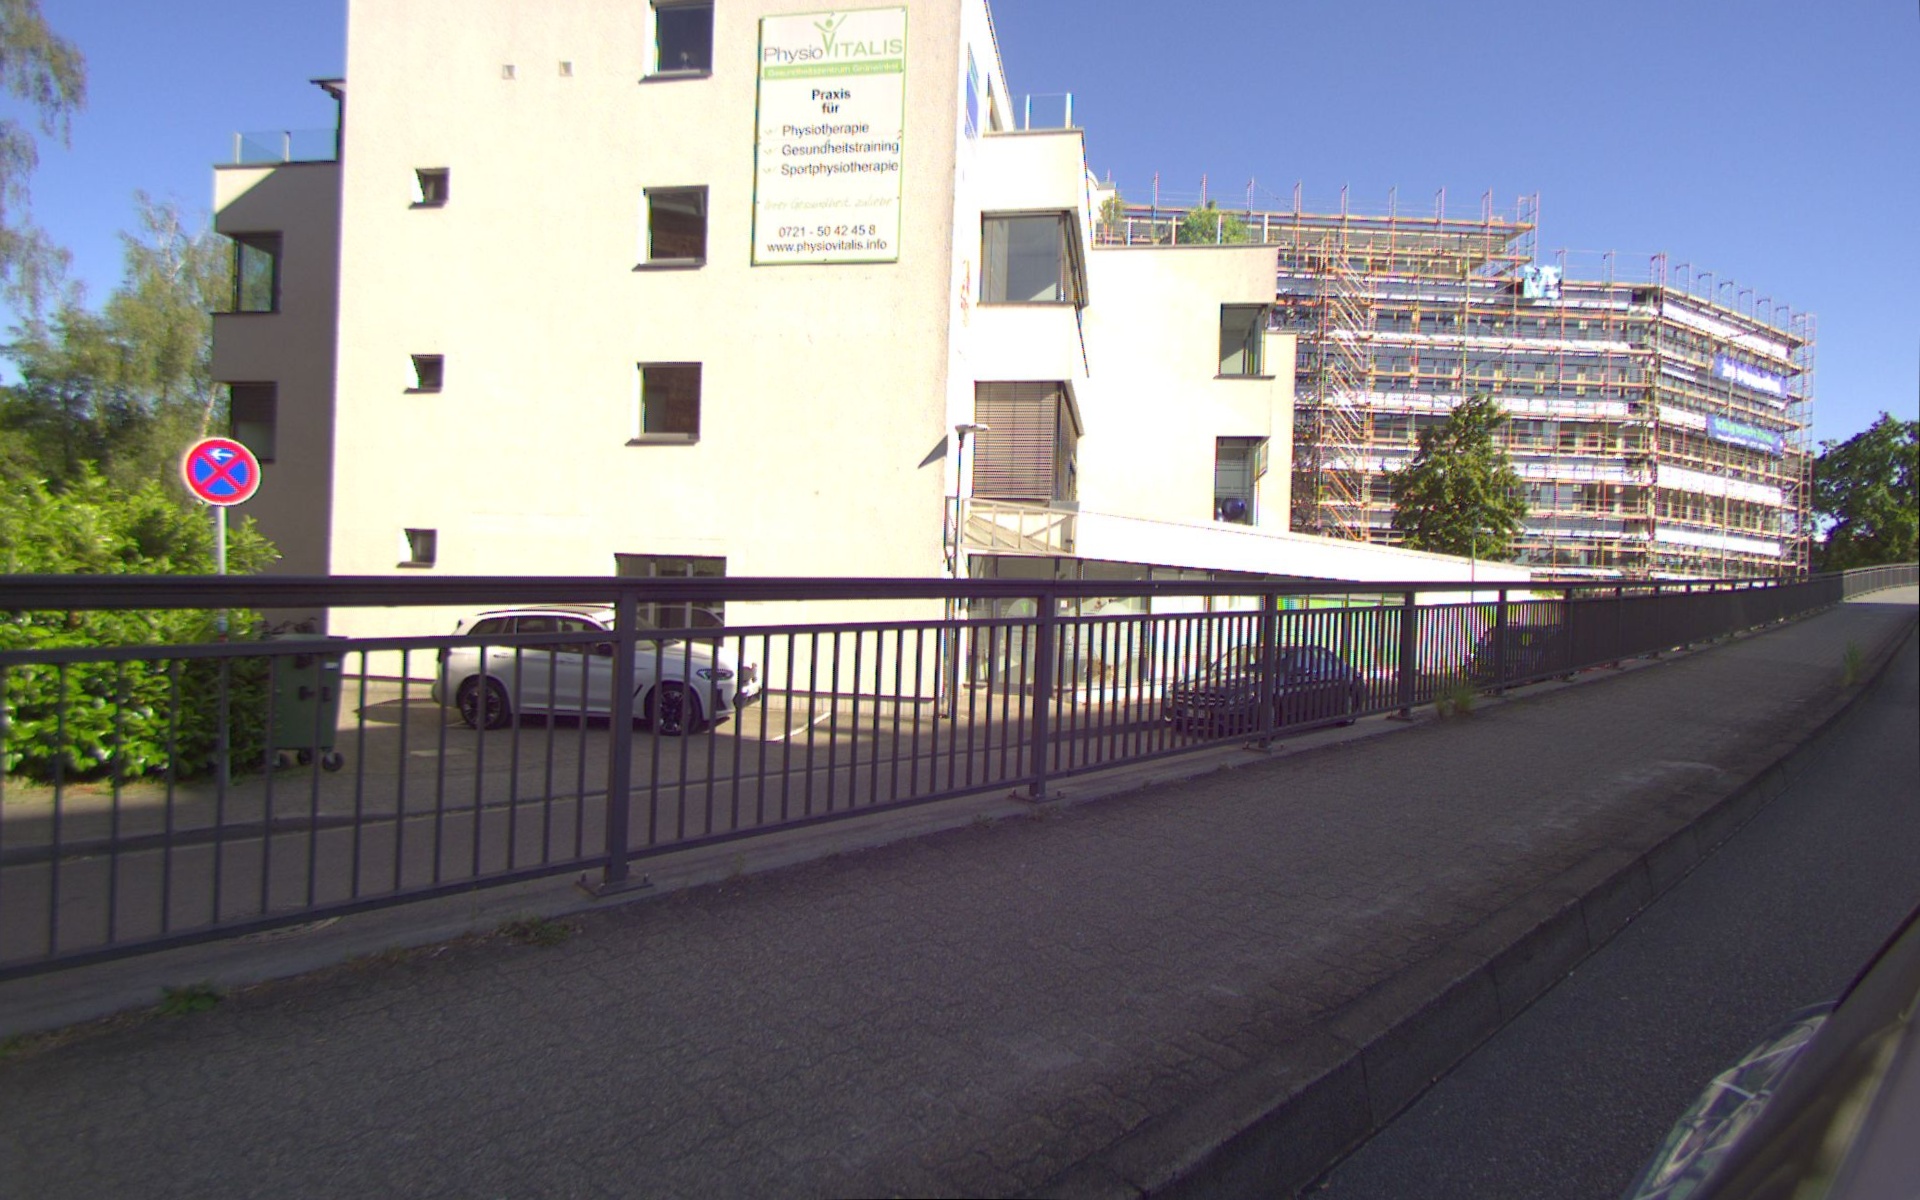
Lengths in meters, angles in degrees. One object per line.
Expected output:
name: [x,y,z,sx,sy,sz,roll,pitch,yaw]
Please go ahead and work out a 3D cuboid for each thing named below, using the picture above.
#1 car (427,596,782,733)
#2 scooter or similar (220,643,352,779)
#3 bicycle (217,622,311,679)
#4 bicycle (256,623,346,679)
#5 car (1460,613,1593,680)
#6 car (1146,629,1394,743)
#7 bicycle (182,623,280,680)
car: [-5.073,0.852,14.721,4.571,1.789,1.824,0,1,9]
scooter or similar: [-6.825,1.066,10.228,1.456,1.235,0.773,-1,-2,42]
bicycle: [-13.752,0.973,20.073,0.485,0.896,2.053,1,3,-1]
bicycle: [-12.990,0.981,20.012,0.485,0.896,2.053,1,3,-1]
car: [15.073,1.168,26.846,3.930,1.554,1.848,1,1,-42]
car: [5.337,1.327,17.122,4.600,1.448,1.848,-1,1,-41]
bicycle: [-14.387,0.988,20.042,0.485,0.896,2.053,1,3,-1]
